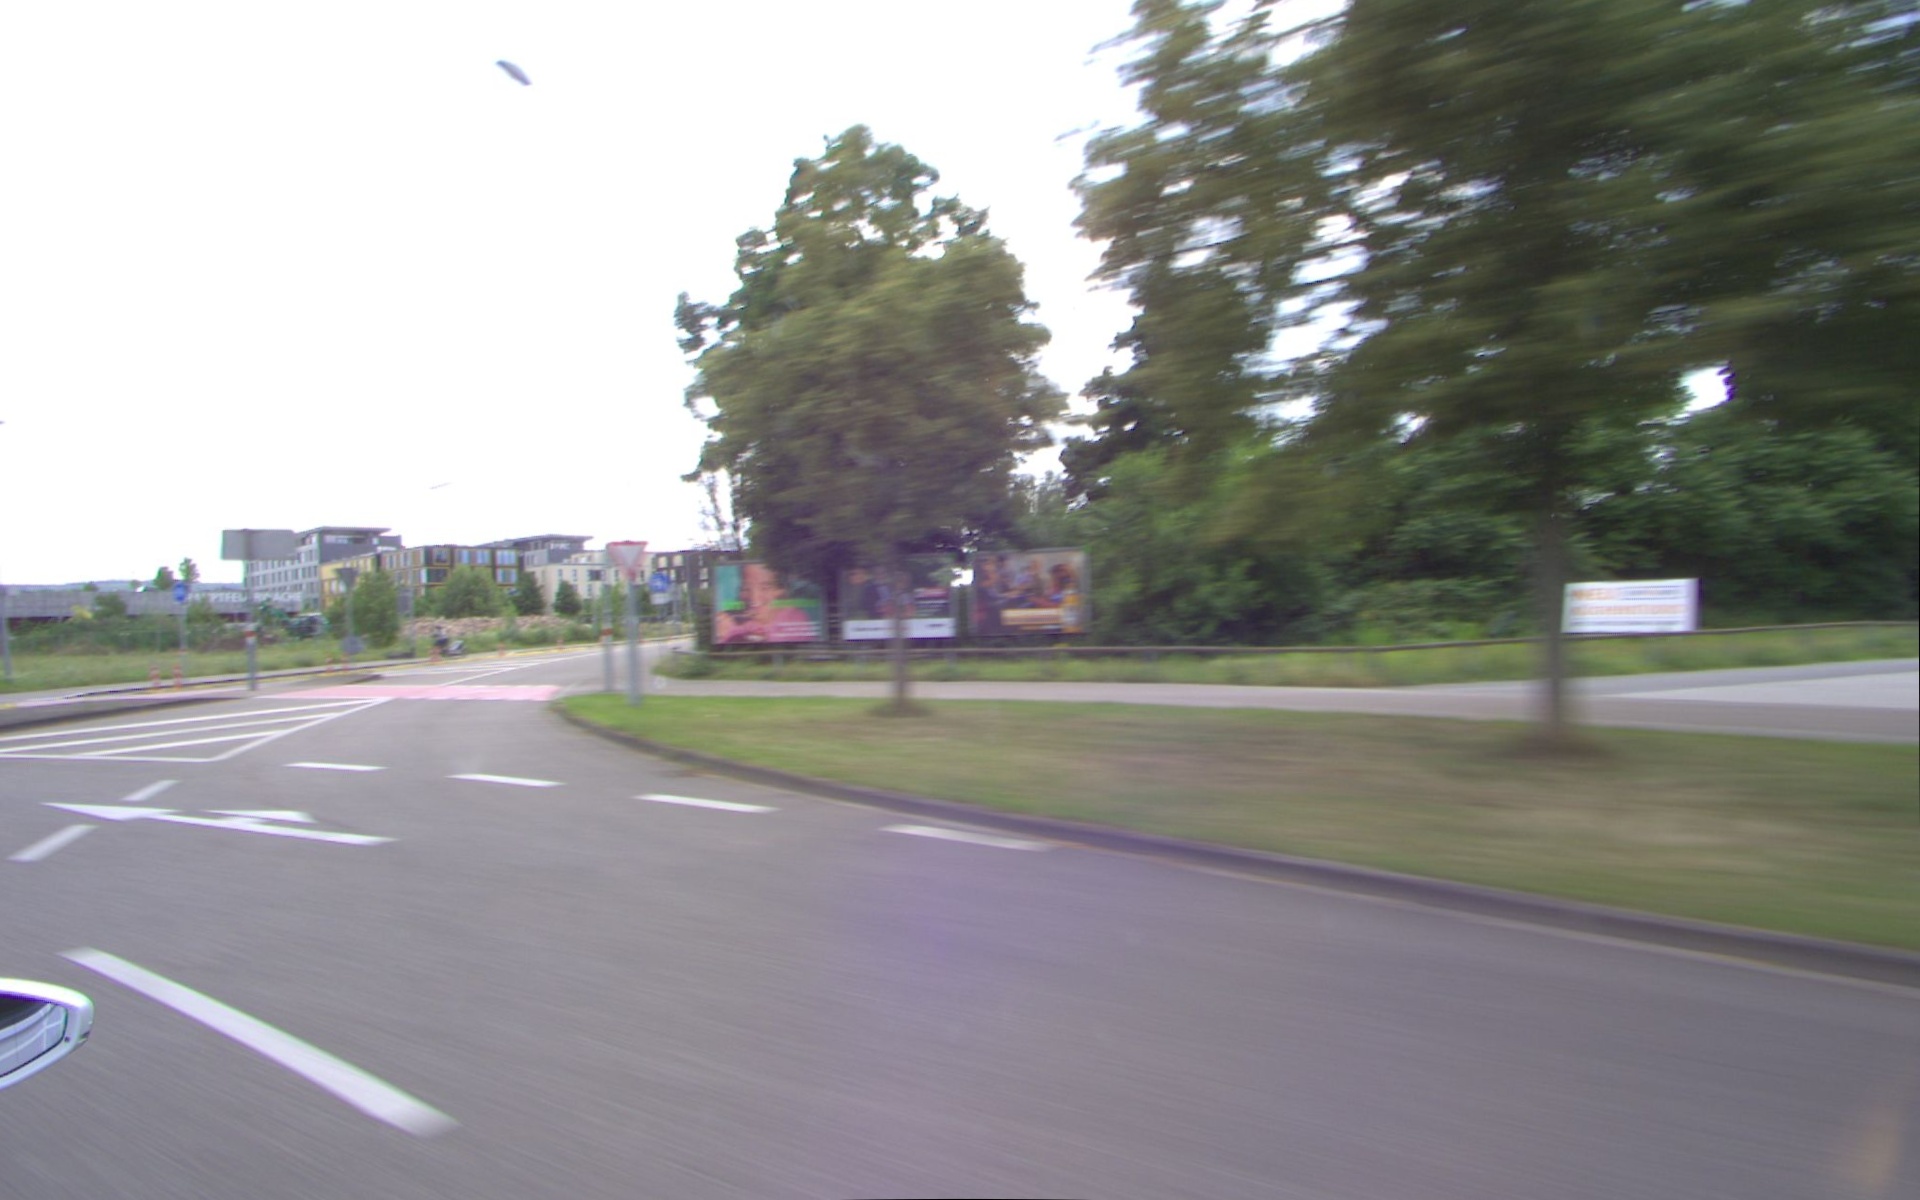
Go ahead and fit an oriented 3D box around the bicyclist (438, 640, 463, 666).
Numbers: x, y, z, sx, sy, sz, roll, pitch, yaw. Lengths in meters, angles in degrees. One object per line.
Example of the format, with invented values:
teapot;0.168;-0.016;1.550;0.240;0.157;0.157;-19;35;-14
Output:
bicyclist;-26.693;2.787;52.462;0.859;1.341;0.813;-2;-2;5

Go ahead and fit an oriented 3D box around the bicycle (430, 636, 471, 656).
bicycle;-26.718;2.420;52.510;0.859;1.030;2.546;-2;-3;-1

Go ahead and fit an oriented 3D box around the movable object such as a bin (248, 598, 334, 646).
movable object such as a bin;-58.577;2.008;87.930;2.990;3.900;7.621;-1;-2;-5
